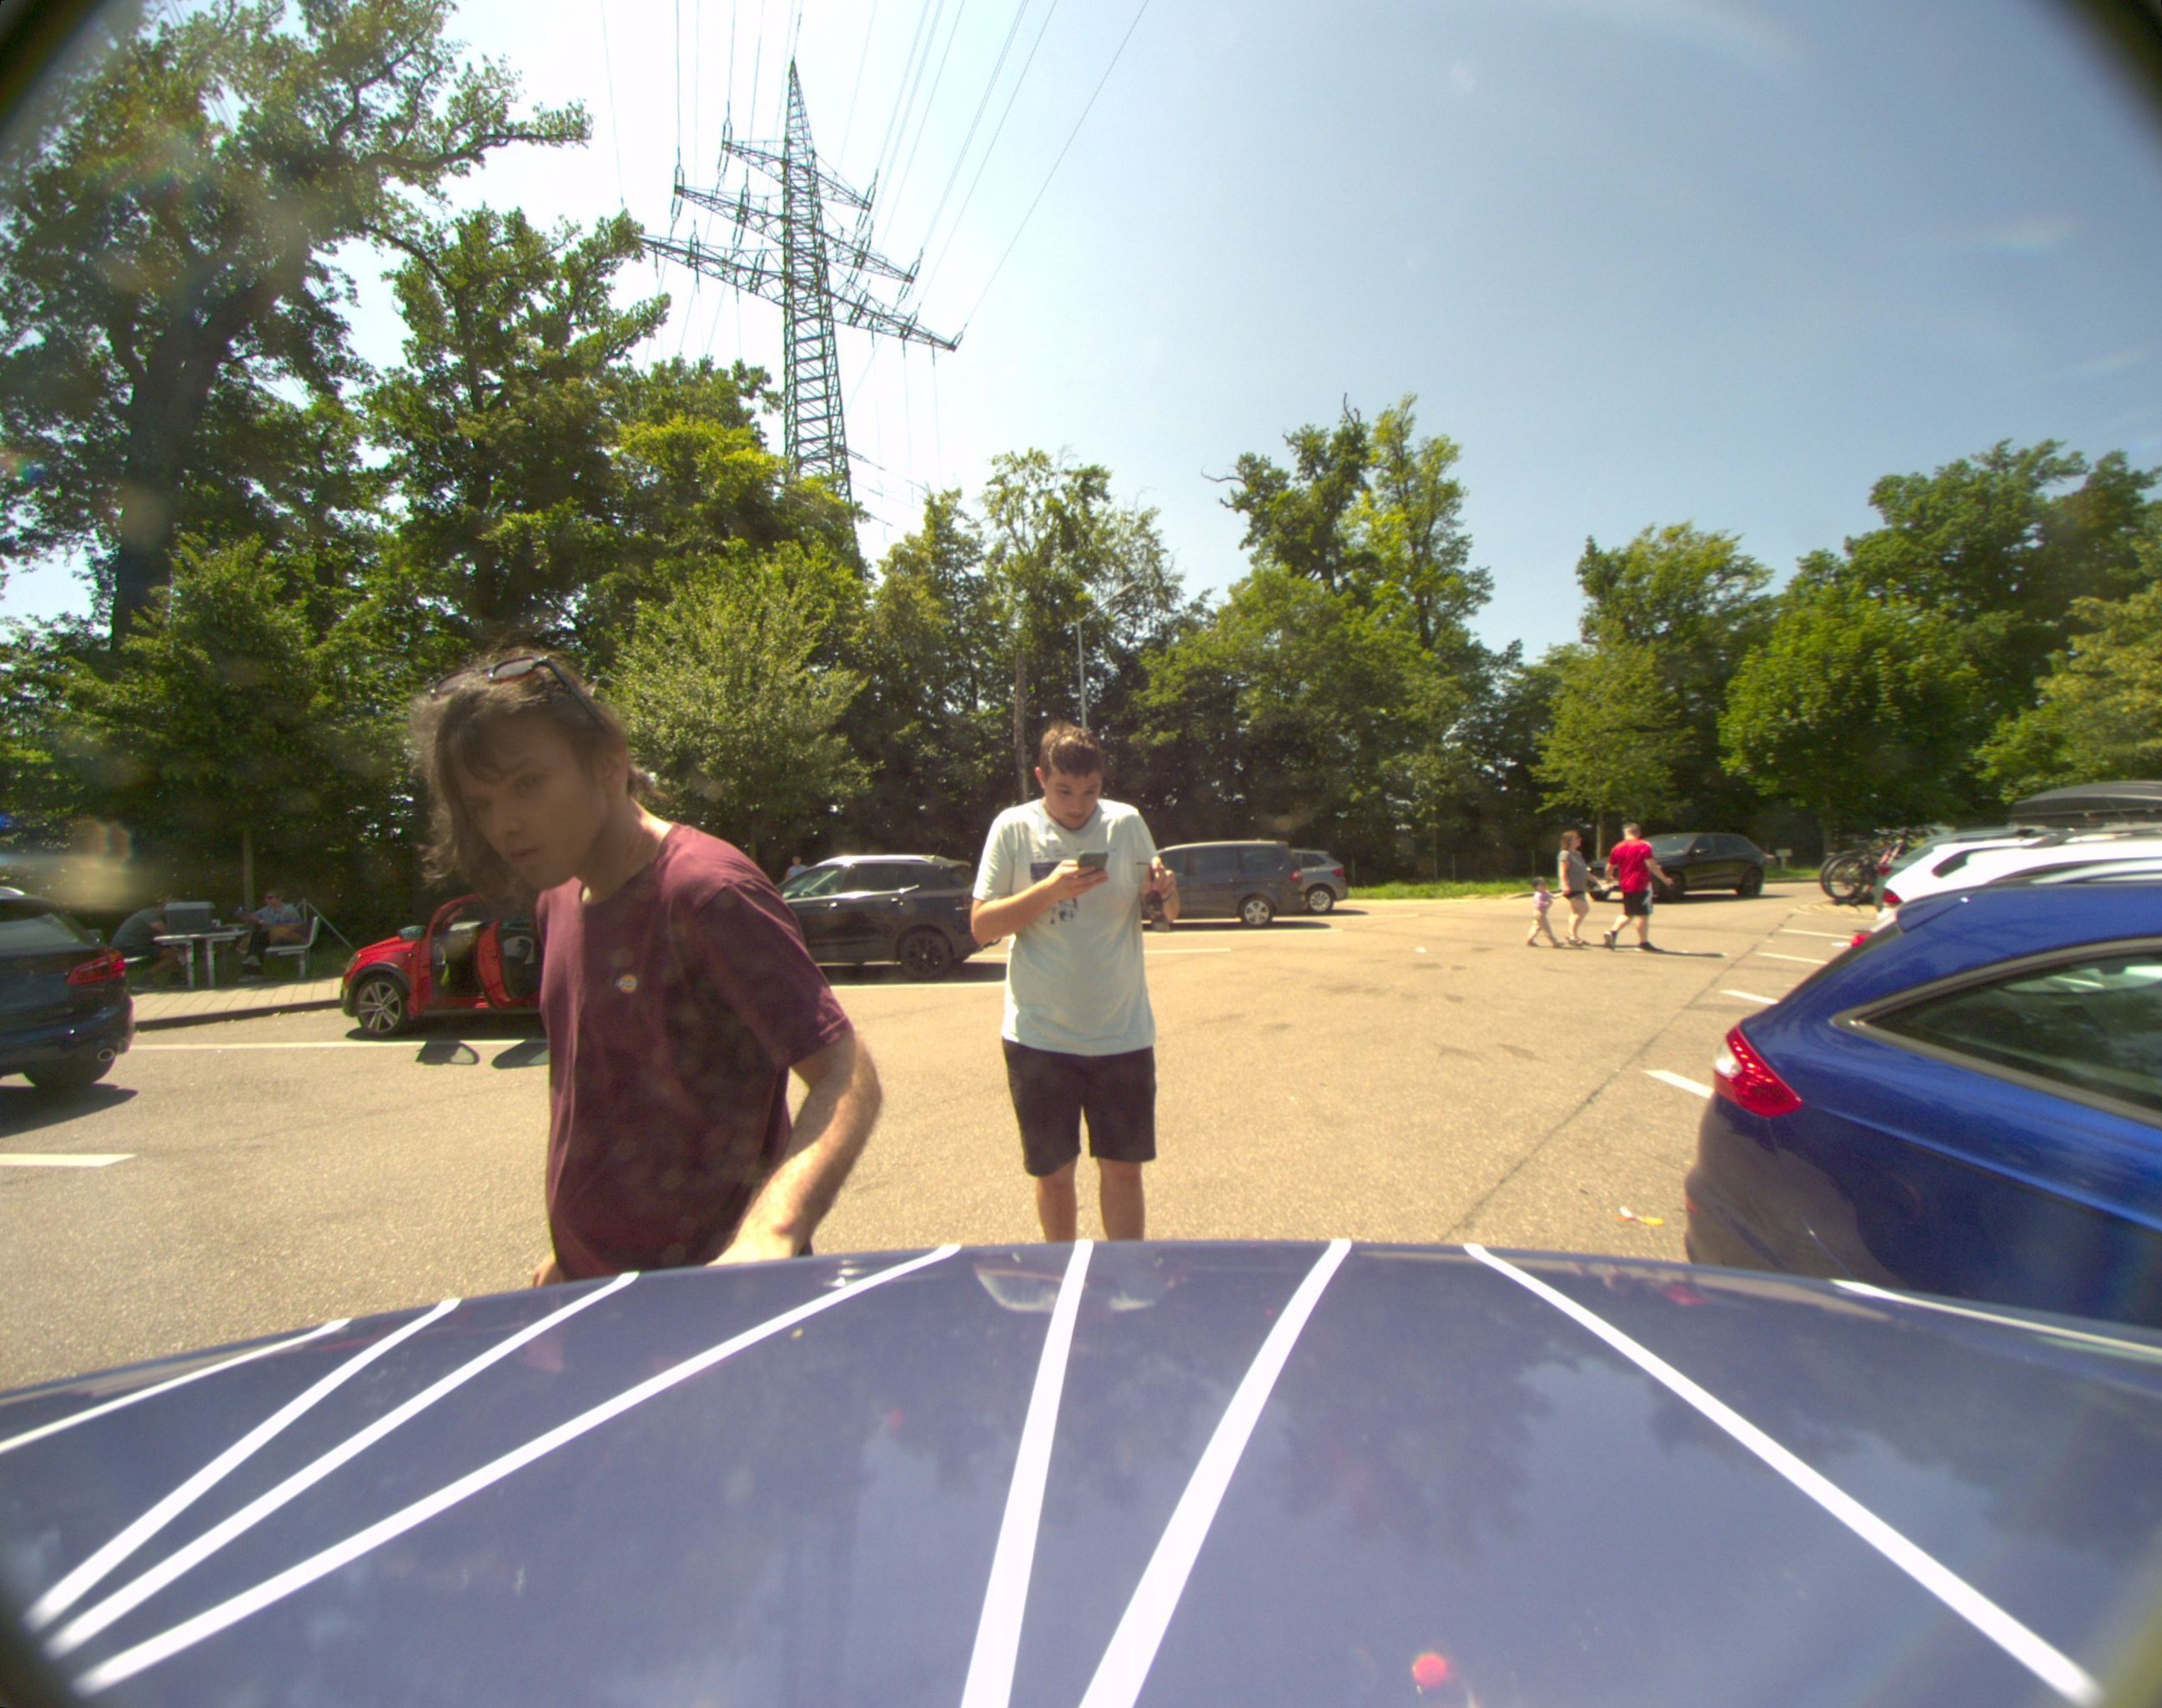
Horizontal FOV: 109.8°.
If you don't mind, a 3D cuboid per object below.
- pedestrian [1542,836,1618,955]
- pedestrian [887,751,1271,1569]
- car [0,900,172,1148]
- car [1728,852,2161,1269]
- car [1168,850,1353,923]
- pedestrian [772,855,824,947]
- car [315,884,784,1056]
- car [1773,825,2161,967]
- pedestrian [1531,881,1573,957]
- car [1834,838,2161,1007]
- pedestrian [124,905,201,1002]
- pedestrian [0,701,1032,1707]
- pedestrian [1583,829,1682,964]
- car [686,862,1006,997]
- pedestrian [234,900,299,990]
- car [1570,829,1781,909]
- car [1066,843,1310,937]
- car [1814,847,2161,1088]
[{"bbox_3d":[7.212,0.584,11.018,0.831,1.653,0.677,-2,1,29],"label":"pedestrian"},{"bbox_3d":[-0.017,0.731,2.184,0.861,1.940,0.688,-2,1,-4],"label":"pedestrian"},{"bbox_3d":[-8.879,1.168,5.013,3.934,1.534,1.812,-2,0,7],"label":"car"},{"bbox_3d":[4.878,0.745,2.374,1.776,1.491,4.495,-3,-1,-1],"label":"car"},{"bbox_3d":[4.149,0.743,18.030,3.996,1.495,1.687,-2,1,3],"label":"car"},{"bbox_3d":[-5.836,0.952,15.683,0.519,1.821,0.767,-1,2,43],"label":"pedestrian"},{"bbox_3d":[-5.184,1.095,7.658,3.730,1.440,1.591,-2,0,7],"label":"car"},{"bbox_3d":[12.545,0.477,10.390,1.777,1.541,4.493,-3,-1,-5],"label":"car"},{"bbox_3d":[6.670,0.913,10.768,0.433,1.038,0.440,-2,1,25],"label":"pedestrian"},{"bbox_3d":[10.114,0.572,6.919,1.777,1.418,4.493,-3,-1,-5],"label":"car"},{"bbox_3d":[-12.626,1.346,10.460,0.695,1.228,0.588,-3,0,43],"label":"pedestrian"},{"bbox_3d":[-0.649,0.816,0.953,0.866,1.823,0.859,-3,1,-31],"label":"pedestrian"},{"bbox_3d":[7.347,0.556,10.161,0.832,1.722,0.676,-2,0,11],"label":"pedestrian"},{"bbox_3d":[-3.027,0.952,10.335,3.732,1.578,1.739,-2,0,2],"label":"car"},{"bbox_3d":[-11.945,1.312,11.148,0.695,1.228,0.588,-3,0,43],"label":"pedestrian"},{"bbox_3d":[14.798,0.320,18.943,4.621,1.703,1.996,-2,1,-20],"label":"car"},{"bbox_3d":[2.145,0.713,15.491,4.619,1.701,1.740,-2,0,9],"label":"car"},{"bbox_3d":[7.481,0.676,4.533,1.776,1.418,4.495,-3,-1,-1],"label":"car"}]
